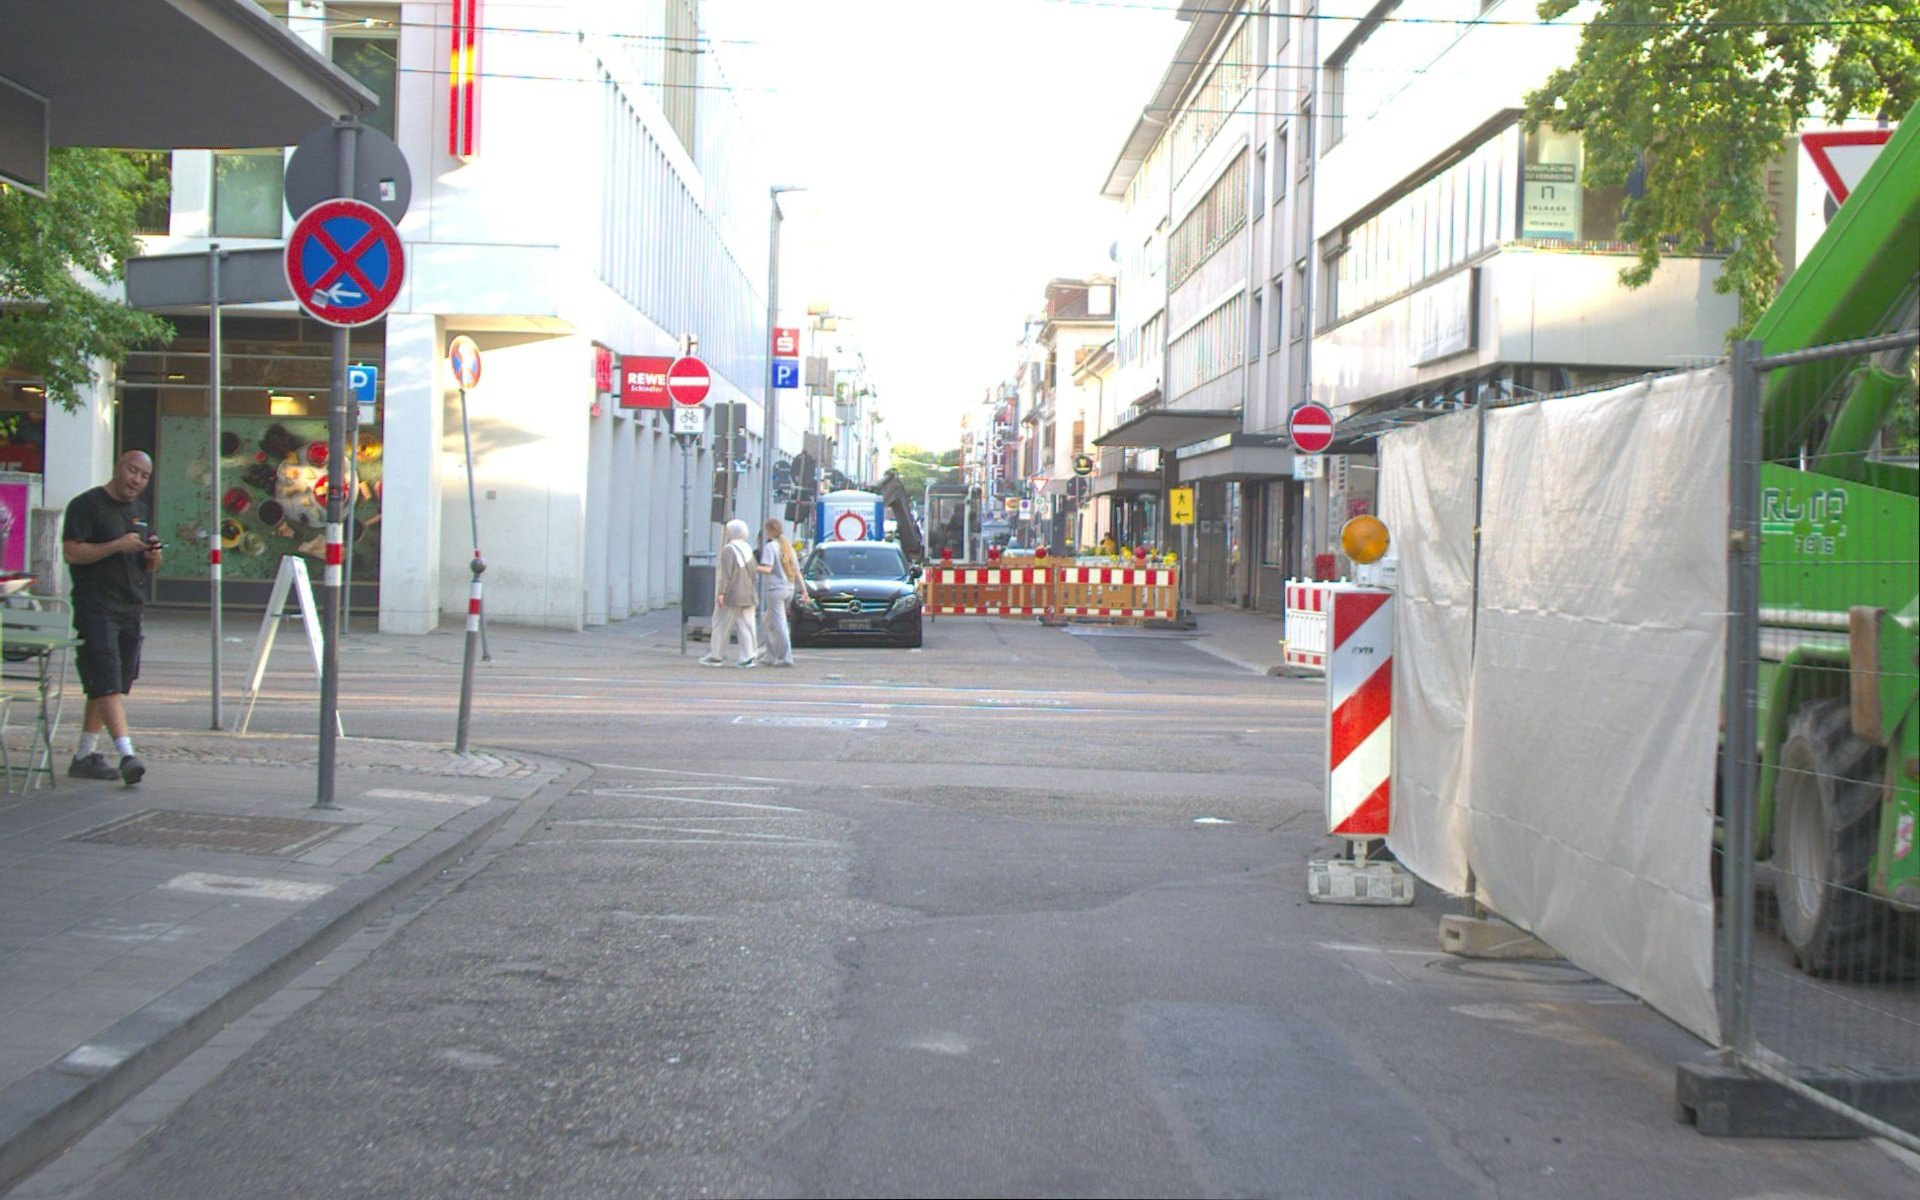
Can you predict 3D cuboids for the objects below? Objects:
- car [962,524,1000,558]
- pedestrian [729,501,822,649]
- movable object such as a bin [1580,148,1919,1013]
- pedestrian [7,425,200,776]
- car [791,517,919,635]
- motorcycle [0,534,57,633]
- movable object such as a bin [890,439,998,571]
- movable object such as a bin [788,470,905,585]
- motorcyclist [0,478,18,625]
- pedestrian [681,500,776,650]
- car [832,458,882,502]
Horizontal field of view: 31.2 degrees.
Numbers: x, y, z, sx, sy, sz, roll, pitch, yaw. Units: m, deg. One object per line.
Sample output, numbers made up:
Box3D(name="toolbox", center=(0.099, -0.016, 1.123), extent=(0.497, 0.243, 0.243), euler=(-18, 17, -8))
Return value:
Box3D(name="car", center=(1.121, -3.213, 186.383), extent=(1.993, 1.770, 4.000), euler=(0, 2, 0))
Box3D(name="pedestrian", center=(-2.054, -0.289, 38.254), extent=(0.610, 1.622, 0.872), euler=(-1, 2, -44))
Box3D(name="movable object such as a bin", center=(4.161, -0.111, 13.480), extent=(2.605, 2.829, 4.450), euler=(0, 1, 0))
Box3D(name="pedestrian", center=(-4.185, 0.000, 16.809), extent=(0.505, 1.662, 0.686), euler=(3, 1, 31))
Box3D(name="car", center=(-1.471, -0.353, 47.338), extent=(1.629, 1.545, 3.143), euler=(0, 2, -4))
Box3D(name="motorcycle", center=(-9.489, -0.171, 32.554), extent=(1.753, 0.916, 0.642), euler=(1, 1, -10))
Box3D(name="movable object such as a bin", center=(-0.357, -1.997, 72.697), extent=(2.156, 2.654, 4.573), euler=(1, 1, -1))
Box3D(name="movable object such as a bin", center=(-2.033, -1.336, 62.631), extent=(1.993, 2.007, 4.000), euler=(0, 2, 0))
Box3D(name="motorcyclist", center=(-9.427, -0.472, 32.570), extent=(0.894, 1.384, 0.672), euler=(1, 1, -10))
Box3D(name="pedestrian", center=(-2.542, -0.279, 37.766), extent=(0.610, 1.622, 0.872), euler=(-1, 2, -44))
Box3D(name="car", center=(-4.247, -4.956, 142.238), extent=(1.993, 1.770, 4.000), euler=(0, 2, 0))
